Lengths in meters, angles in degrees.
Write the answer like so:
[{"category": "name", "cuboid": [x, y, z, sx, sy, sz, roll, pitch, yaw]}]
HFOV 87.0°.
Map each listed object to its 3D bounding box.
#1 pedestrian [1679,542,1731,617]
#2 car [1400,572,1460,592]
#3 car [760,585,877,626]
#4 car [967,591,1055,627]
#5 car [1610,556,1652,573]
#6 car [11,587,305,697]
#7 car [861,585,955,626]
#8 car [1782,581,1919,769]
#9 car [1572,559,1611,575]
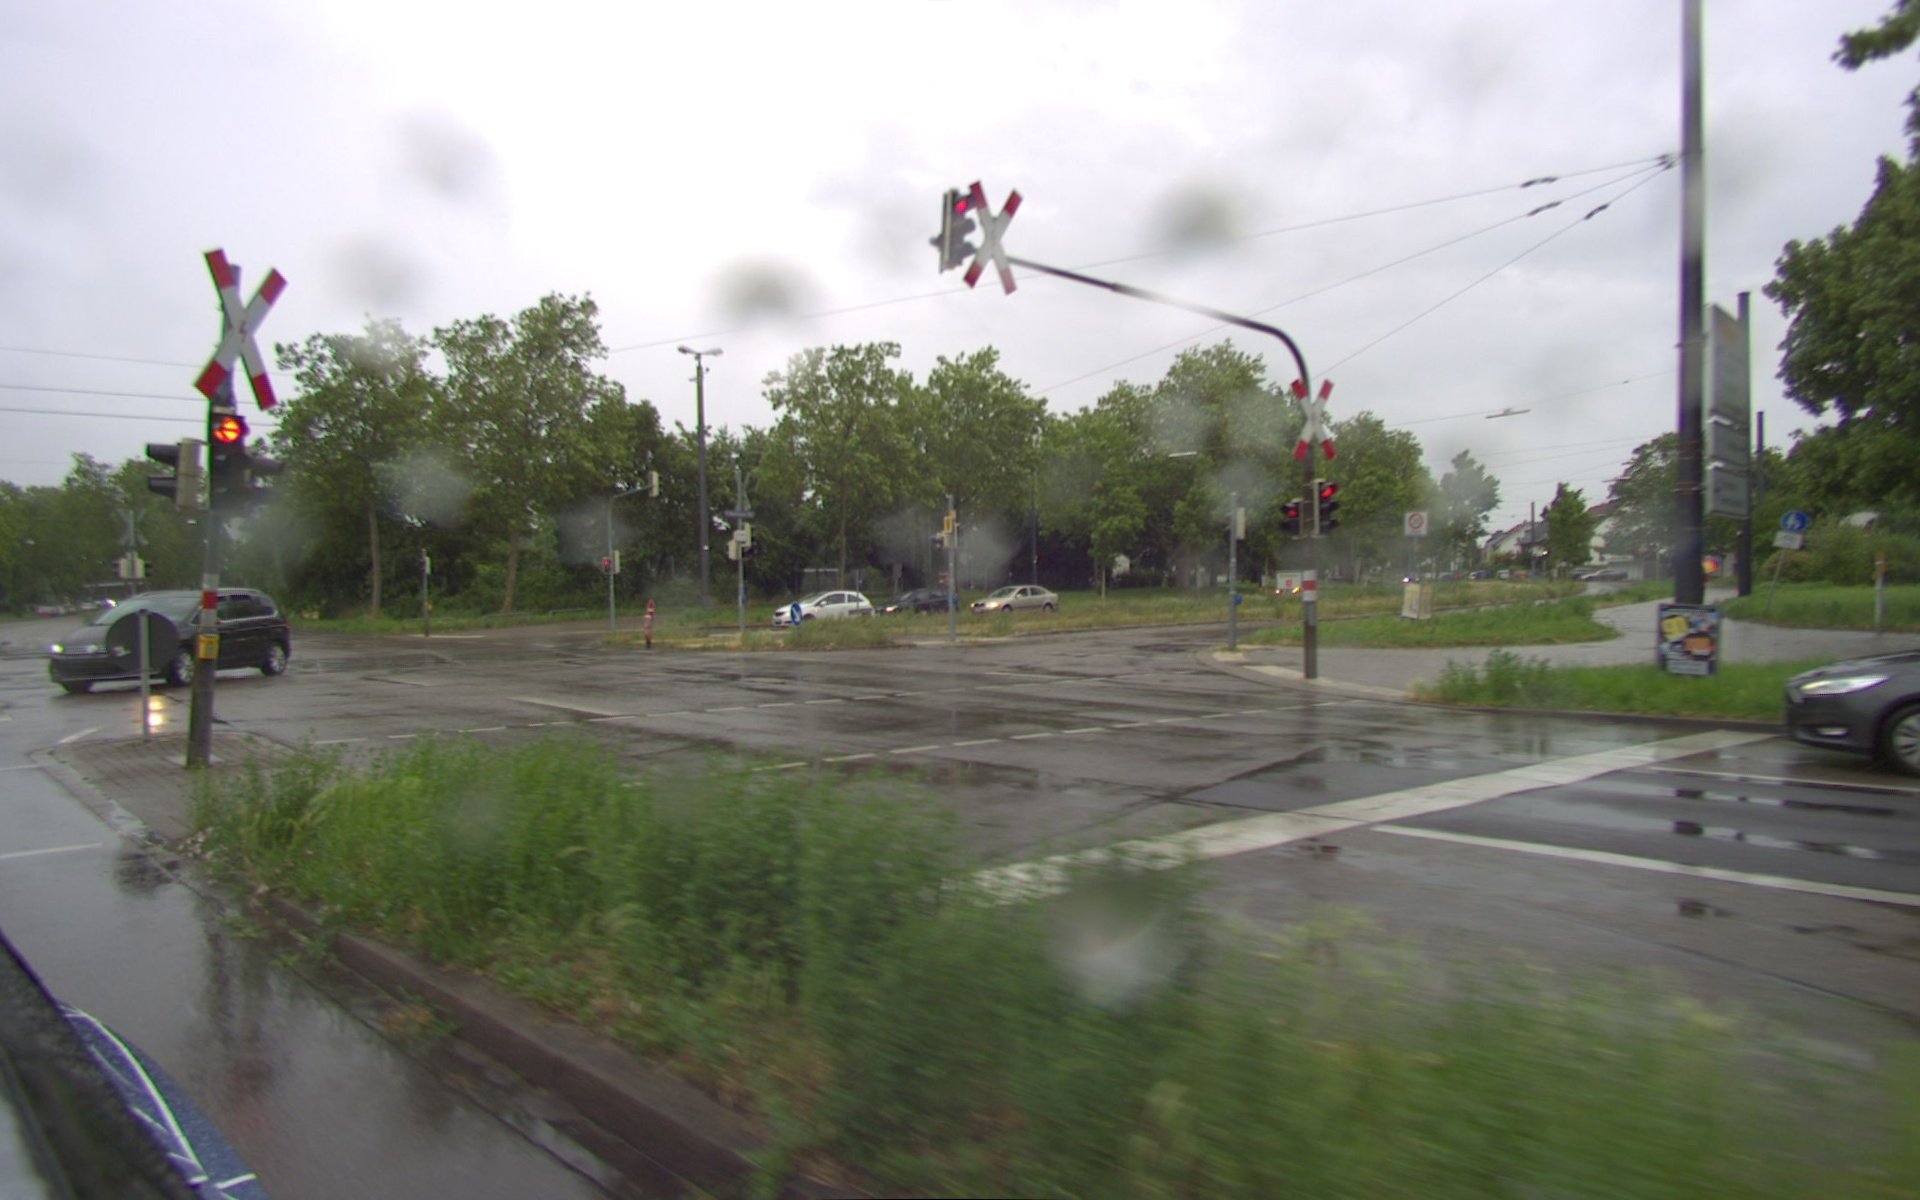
[{"category": "pedestrian", "cuboid": [20.515, -0.568, 27.872, 0.993, 2.005, 0.954, -2, 0, -44]}, {"category": "car", "cuboid": [37.677, -1.468, 81.166, 4.042, 1.431, 1.653, -2, 0, 40]}, {"category": "car", "cuboid": [-5.227, 0.196, 37.712, 3.935, 1.373, 1.792, -2, 0, -40]}, {"category": "car", "cuboid": [2.243, 0.368, 43.900, 1.789, 1.414, 3.741, -2, 0, 43]}, {"category": "car", "cuboid": [84.391, -4.455, 127.304, 3.964, 1.815, 1.883, -2, -1, 16]}, {"category": "car", "cuboid": [-13.759, 0.644, 17.797, 1.839, 1.613, 4.530, -2, 0, -5]}, {"category": "car", "cuboid": [-2.267, 0.236, 44.645, 3.751, 1.630, 1.875, -2, 0, -43]}, {"category": "car", "cuboid": [8.957, 0.571, 7.499, 4.303, 1.412, 1.784, 0, 0, 35]}, {"category": "car", "cuboid": [82.877, -4.313, 132.859, 3.849, 1.815, 1.809, -2, -1, 17]}]
